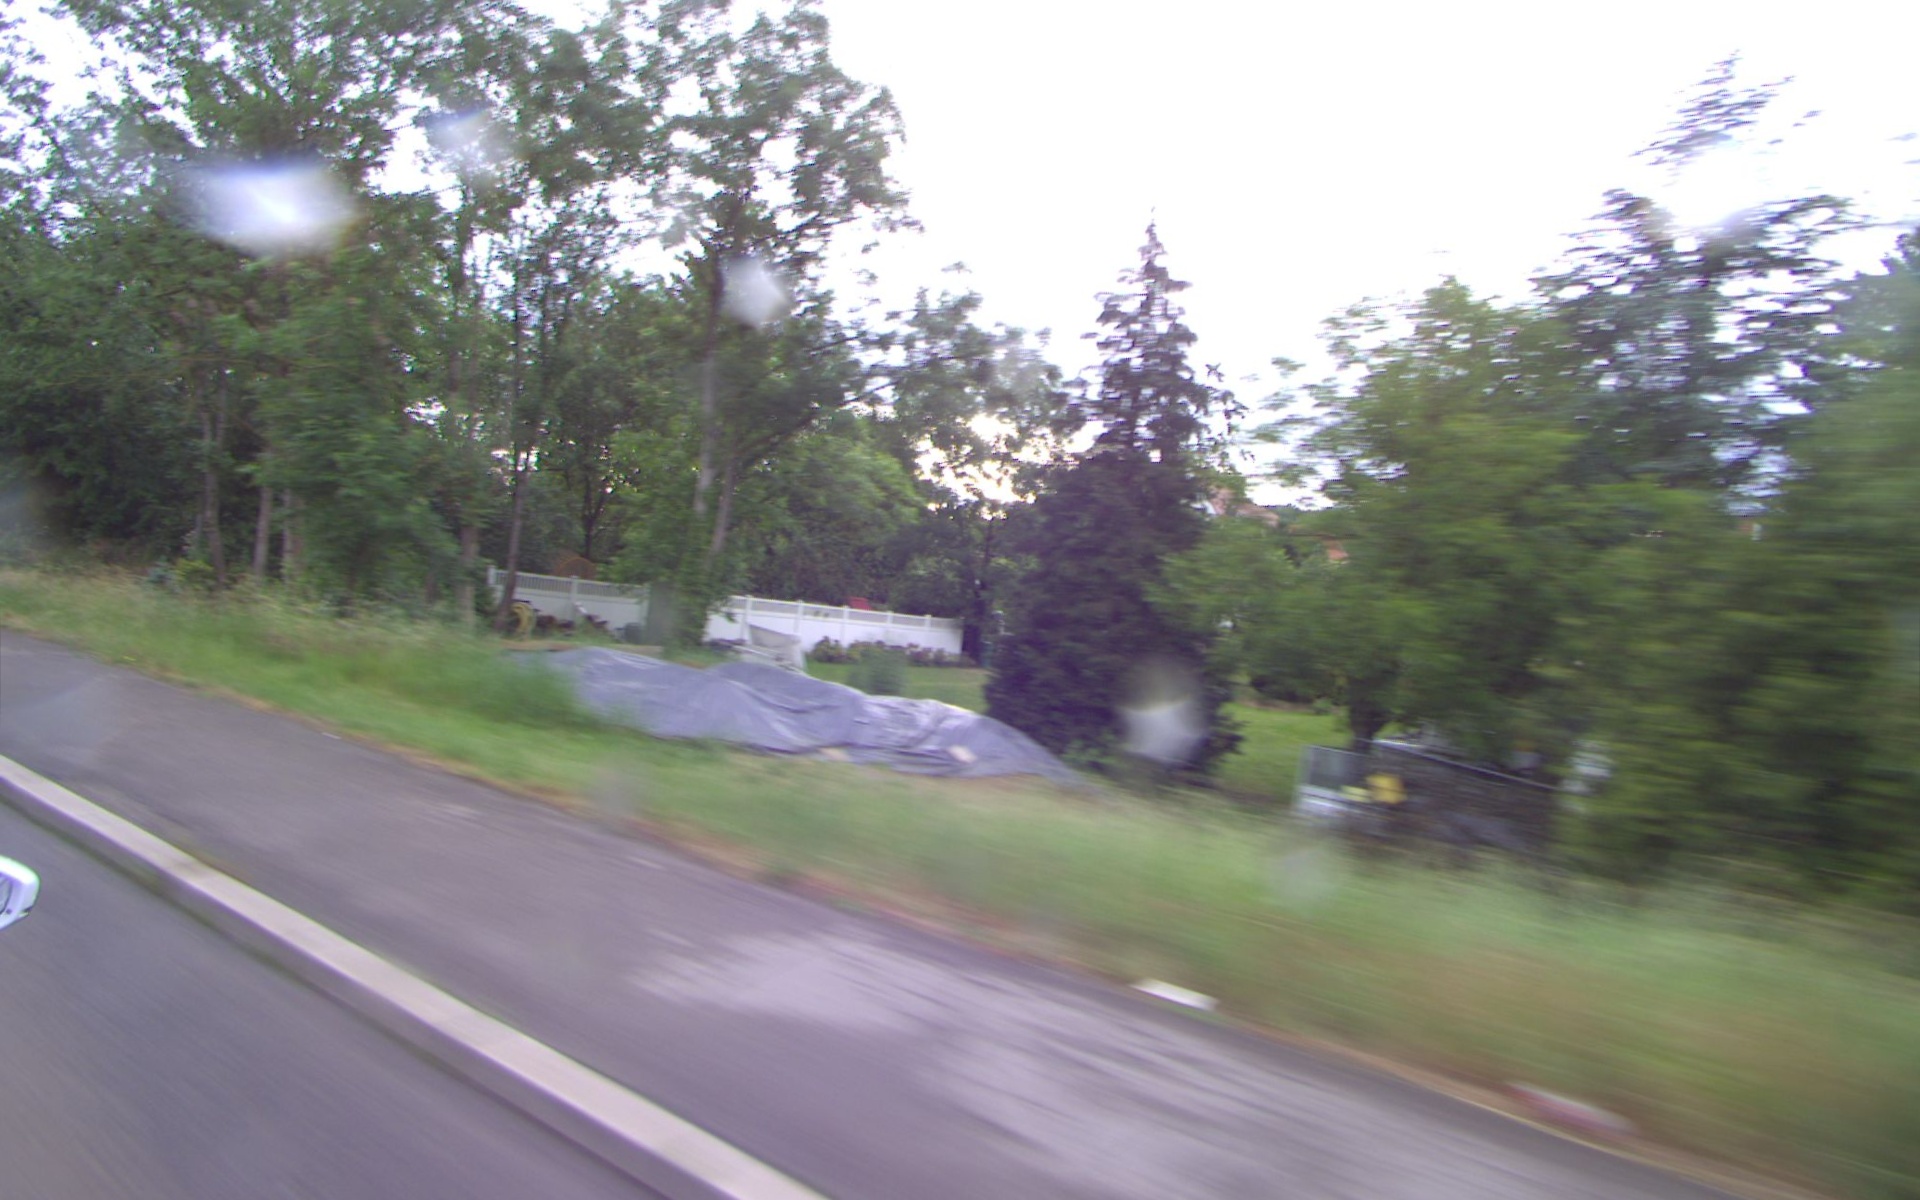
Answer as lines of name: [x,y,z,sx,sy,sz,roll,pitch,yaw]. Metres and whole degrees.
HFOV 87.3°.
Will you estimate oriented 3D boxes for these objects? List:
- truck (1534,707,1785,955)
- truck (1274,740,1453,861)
truck: [10.142,2.944,14.224,2.038,2.386,7.039,7,-2,41]
truck: [6.319,3.053,15.691,1.735,1.414,2.349,6,-2,44]
